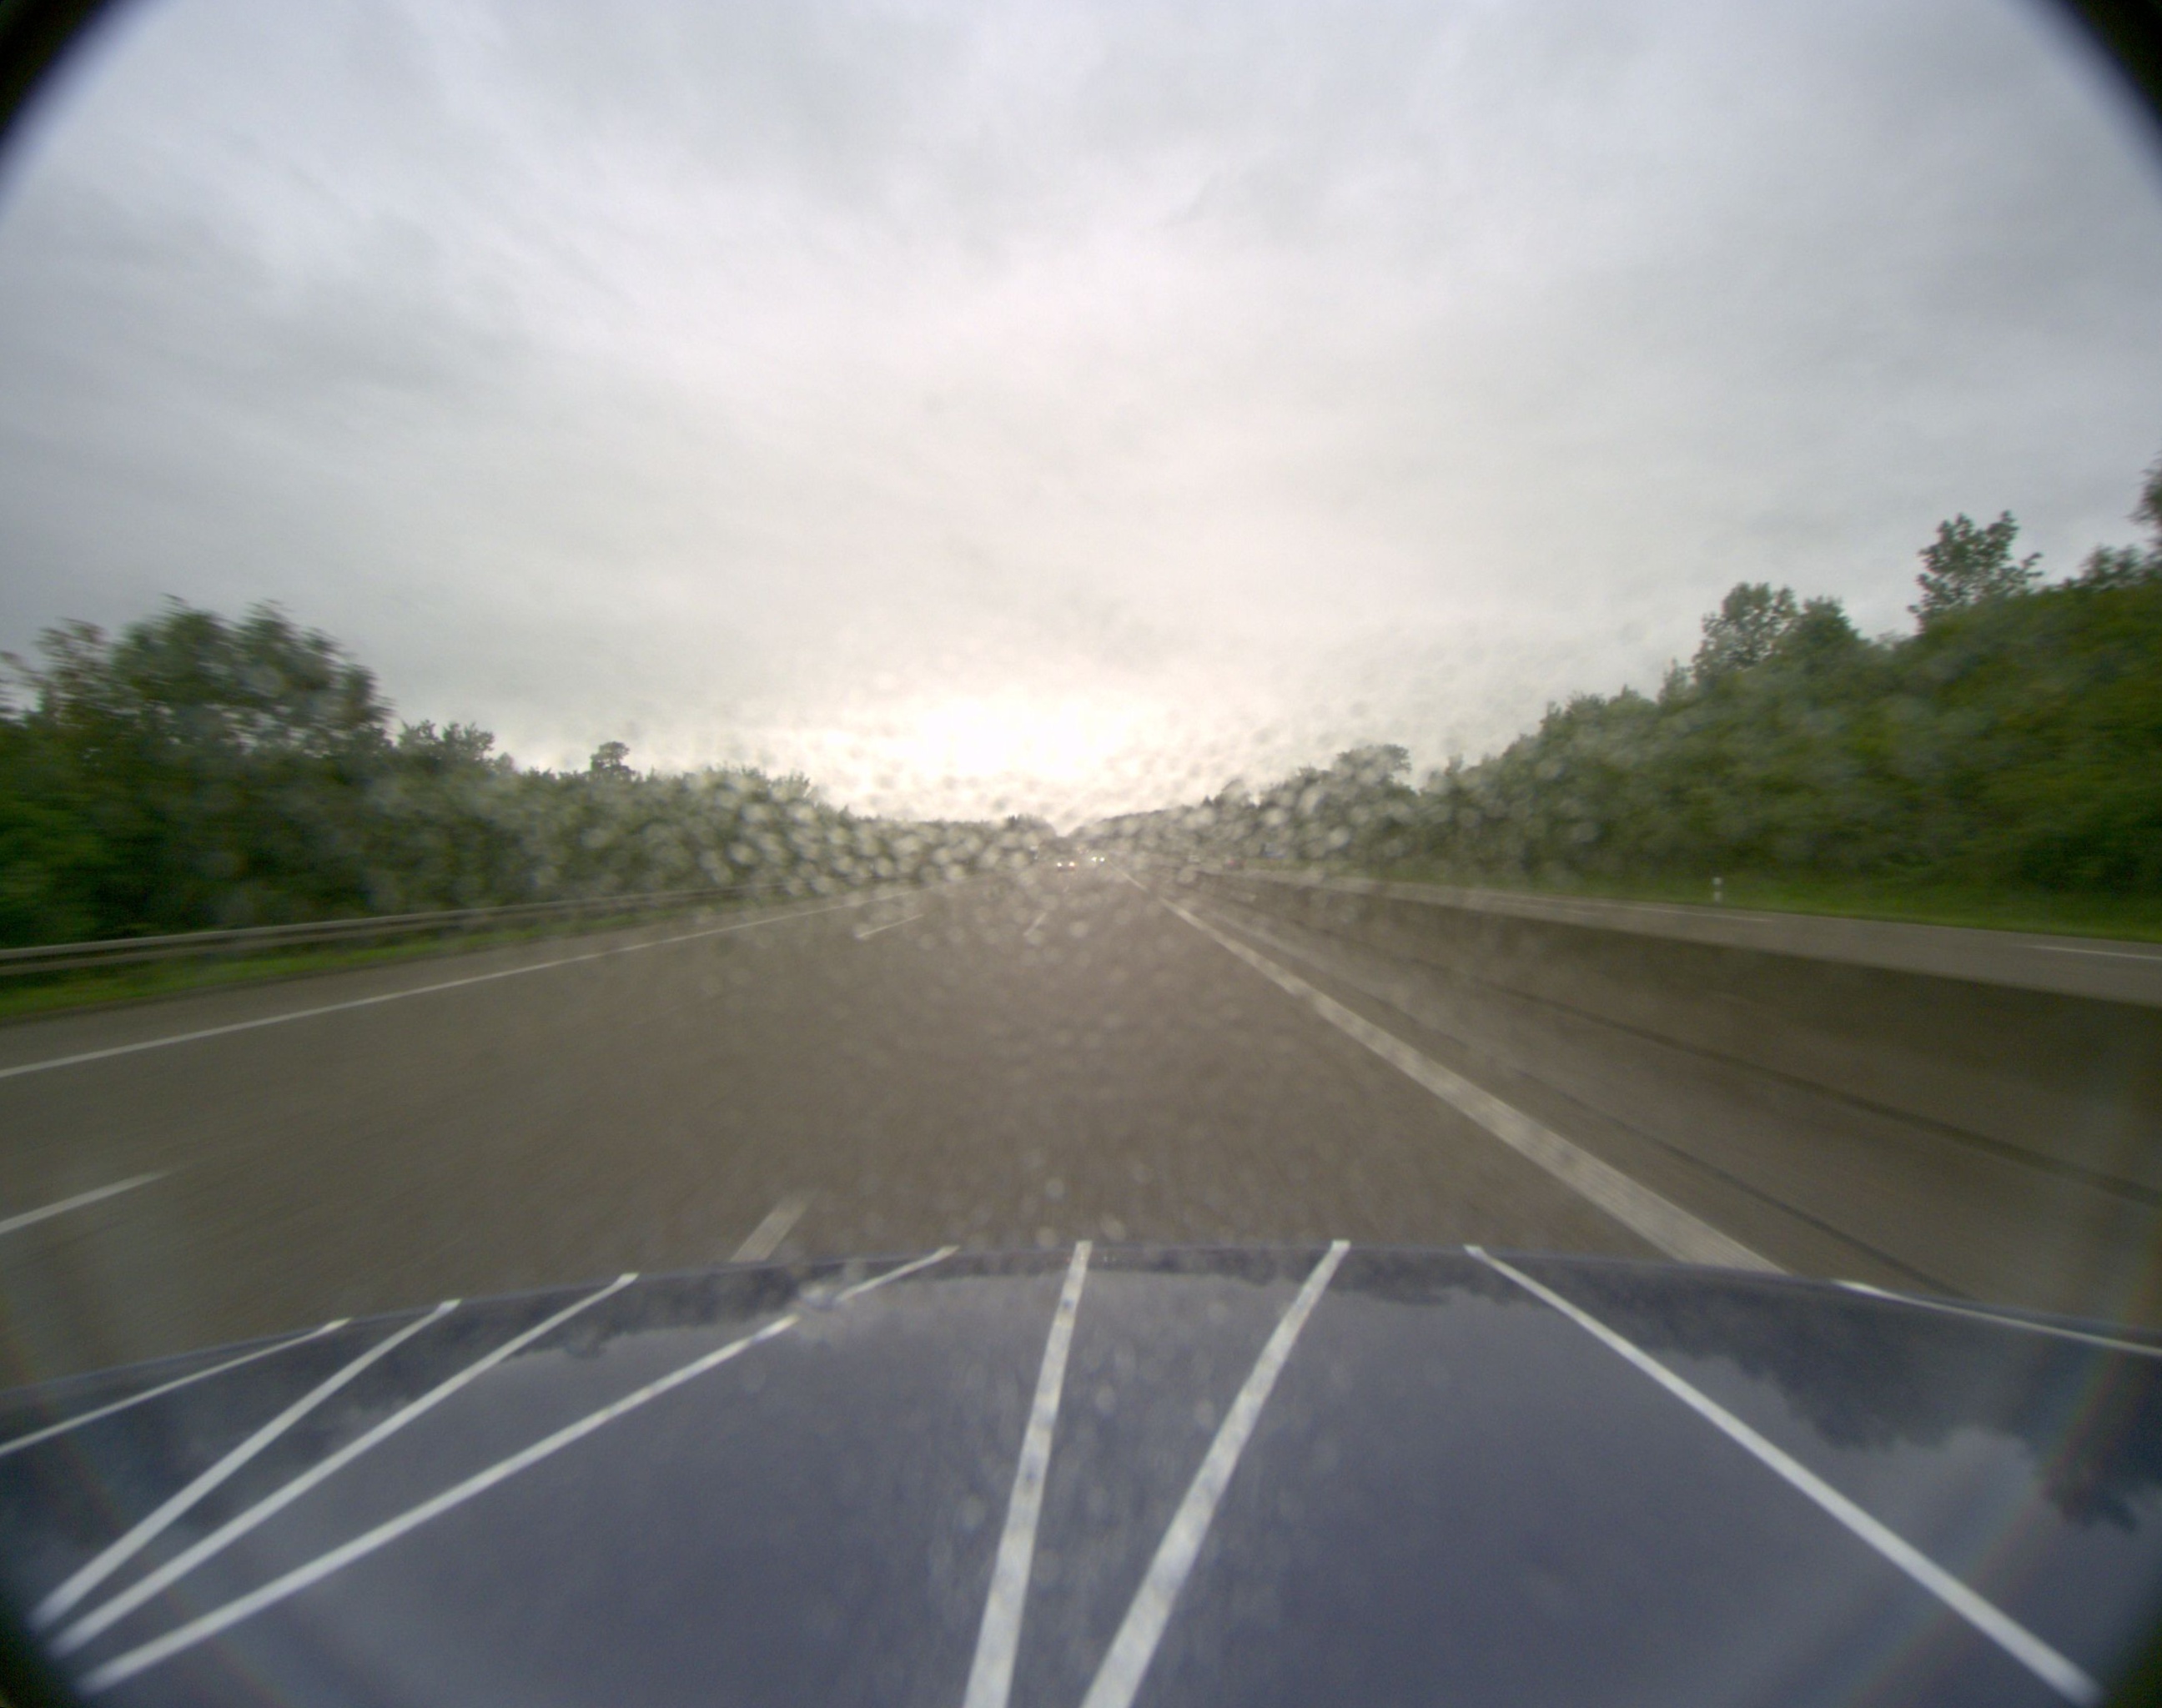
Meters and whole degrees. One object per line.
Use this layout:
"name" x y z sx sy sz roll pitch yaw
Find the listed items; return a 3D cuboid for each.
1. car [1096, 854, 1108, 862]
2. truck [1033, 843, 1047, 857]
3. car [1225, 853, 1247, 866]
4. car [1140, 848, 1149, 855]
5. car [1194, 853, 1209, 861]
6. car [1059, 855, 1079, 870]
"car" 3.803 0.697 134.615 2.009 1.455 4.000 0 1 3
"truck" -12.442 -1.229 232.132 3.244 3.873 12.024 -1 1 1
"car" 17.555 0.579 86.322 1.803 1.377 4.468 0 0 2
"car" 18.055 -0.632 215.792 1.999 2.002 5.760 0 0 0
"car" 20.094 0.498 127.081 1.802 1.442 4.629 0 0 1
"car" -1.180 0.865 79.032 1.932 1.521 4.298 0 0 1
